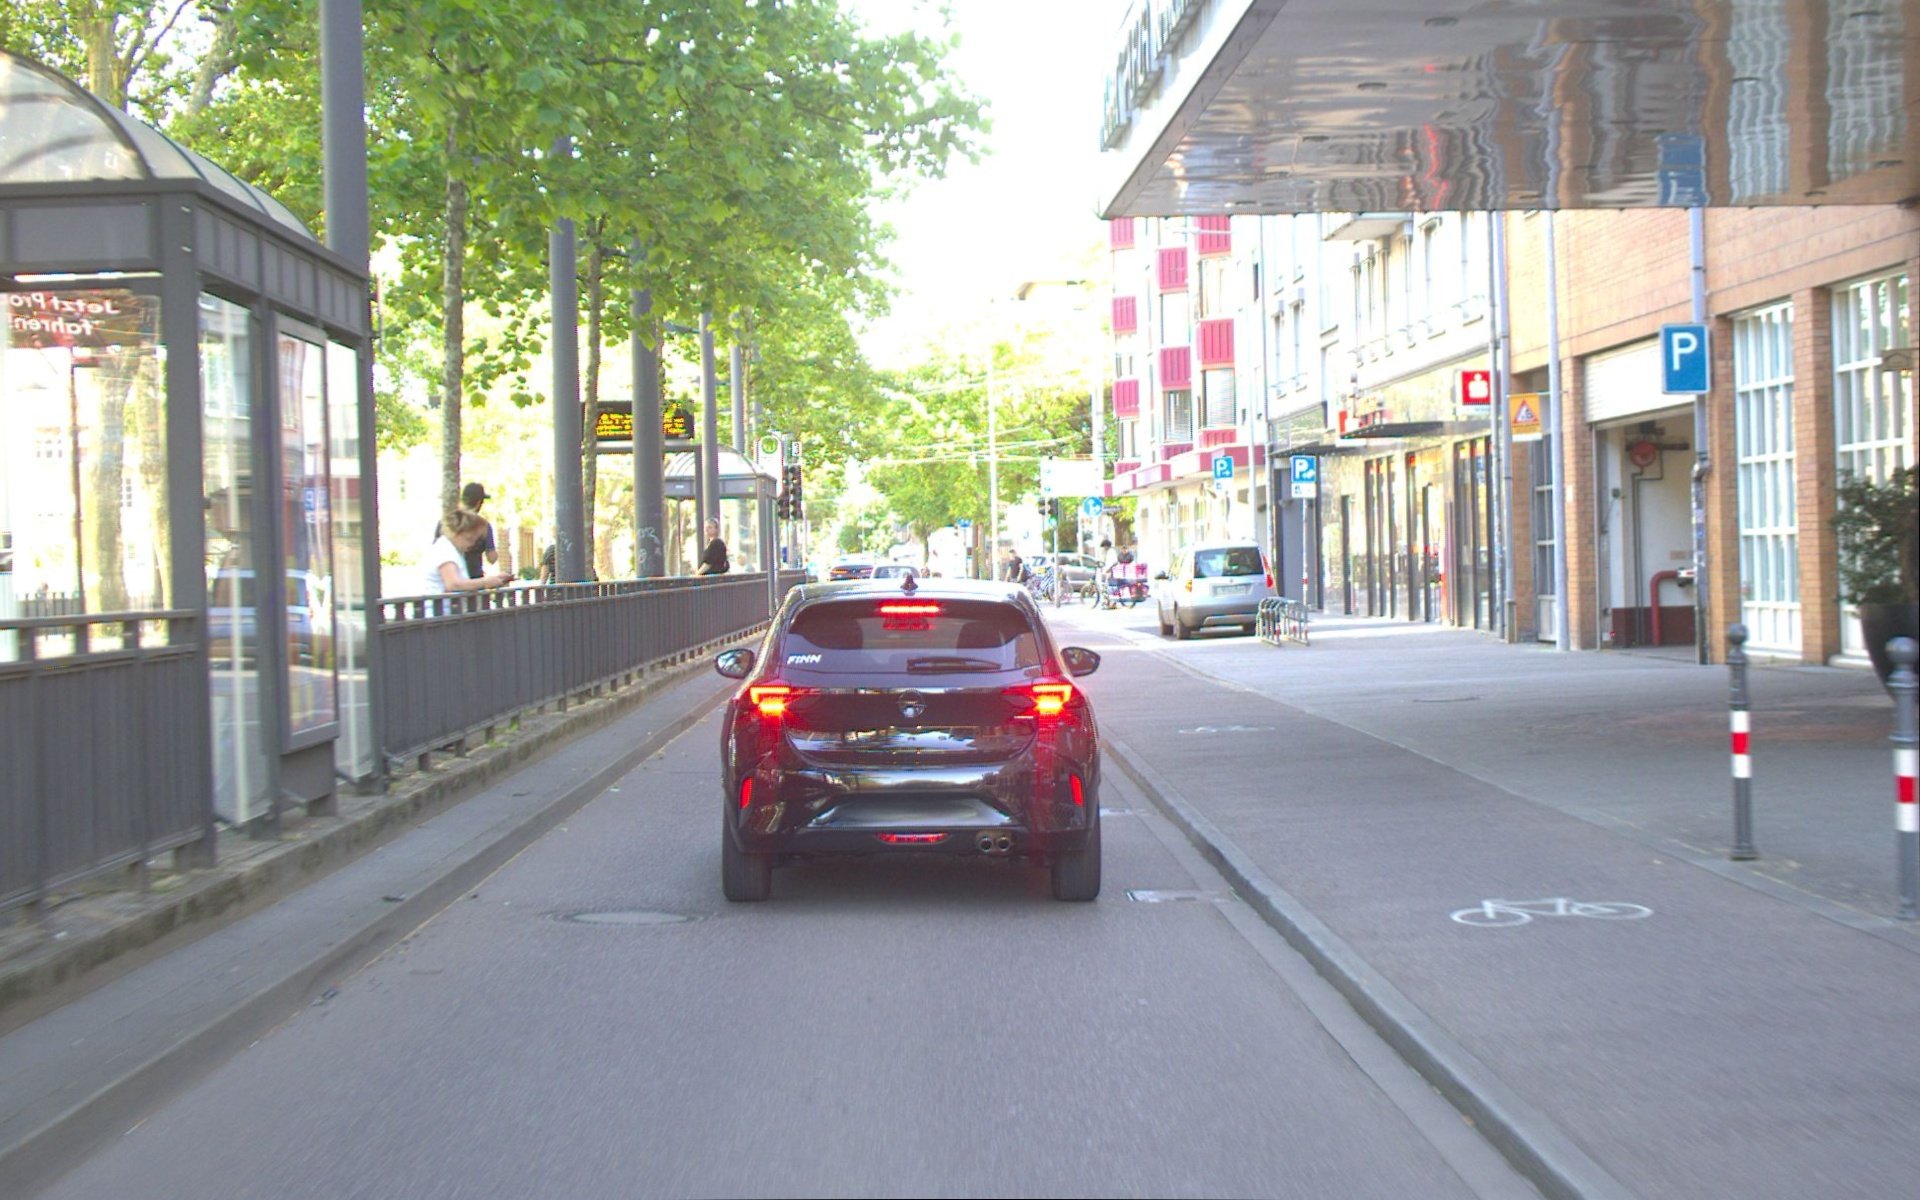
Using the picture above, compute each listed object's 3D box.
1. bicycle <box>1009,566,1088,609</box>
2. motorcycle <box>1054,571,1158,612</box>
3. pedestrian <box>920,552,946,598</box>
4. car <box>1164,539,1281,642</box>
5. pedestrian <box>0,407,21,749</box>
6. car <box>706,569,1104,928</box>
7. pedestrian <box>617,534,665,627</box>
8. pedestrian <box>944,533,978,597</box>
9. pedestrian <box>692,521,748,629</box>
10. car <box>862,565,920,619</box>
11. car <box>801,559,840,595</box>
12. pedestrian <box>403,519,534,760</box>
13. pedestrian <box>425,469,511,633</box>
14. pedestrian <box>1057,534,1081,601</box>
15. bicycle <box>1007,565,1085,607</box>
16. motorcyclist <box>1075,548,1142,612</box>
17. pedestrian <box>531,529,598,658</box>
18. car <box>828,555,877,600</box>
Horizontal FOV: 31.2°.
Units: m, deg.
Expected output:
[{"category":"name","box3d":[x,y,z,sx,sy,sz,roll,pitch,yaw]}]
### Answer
[{"category":"bicycle","box3d":[2.651,-0.371,103.316,2.355,1.229,0.684,-1,0,1]},{"category":"motorcycle","box3d":[3.883,-0.224,91.893,1.304,1.055,3.098,-1,1,-30]},{"category":"pedestrian","box3d":[-1.067,-0.977,135.379,0.917,1.769,1.150,-1,0,-3]},{"category":"car","box3d":[4.393,-0.174,57.899,1.672,1.647,3.690,-1,1,0]},{"category":"pedestrian","box3d":[-4.988,-0.101,16.774,0.604,1.674,0.486,-3,0,-1]},{"category":"car","box3d":[-0.218,0.620,16.535,1.672,1.496,3.690,-1,1,1]},{"category":"pedestrian","box3d":[-4.747,-0.289,51.219,0.604,1.360,0.486,-3,0,-1]},{"category":"pedestrian","box3d":[0.039,-1.595,157.286,1.147,2.862,0.920,-2,0,-34]},{"category":"pedestrian","box3d":[-3.232,-0.338,46.221,0.722,1.440,0.627,-1,0,-4]},{"category":"car","box3d":[-1.996,-0.246,99.269,1.613,1.496,3.691,-1,1,-1]},{"category":"car","box3d":[-5.998,-1.003,148.112,1.613,1.496,3.691,-1,1,-1]},{"category":"pedestrian","box3d":[-3.003,0.235,21.046,0.722,1.440,0.627,-1,0,-4]},{"category":"pedestrian","box3d":[-4.190,-0.413,29.308,0.604,1.360,0.486,-3,0,-1]},{"category":"pedestrian","box3d":[4.761,-1.416,149.745,0.917,2.862,1.150,-1,0,-2]},{"category":"bicycle","box3d":[2.626,-0.431,105.008,2.355,1.229,0.684,-1,0,1]},{"category":"motorcyclist","box3d":[3.962,-0.531,91.762,1.304,1.692,1.237,-1,1,-30]},{"category":"pedestrian","box3d":[-4.270,-0.072,37.139,0.604,1.360,0.486,-3,0,-1]},{"category":"car","box3d":[-3.660,-0.775,117.045,1.613,1.496,3.691,-1,1,-1]}]
